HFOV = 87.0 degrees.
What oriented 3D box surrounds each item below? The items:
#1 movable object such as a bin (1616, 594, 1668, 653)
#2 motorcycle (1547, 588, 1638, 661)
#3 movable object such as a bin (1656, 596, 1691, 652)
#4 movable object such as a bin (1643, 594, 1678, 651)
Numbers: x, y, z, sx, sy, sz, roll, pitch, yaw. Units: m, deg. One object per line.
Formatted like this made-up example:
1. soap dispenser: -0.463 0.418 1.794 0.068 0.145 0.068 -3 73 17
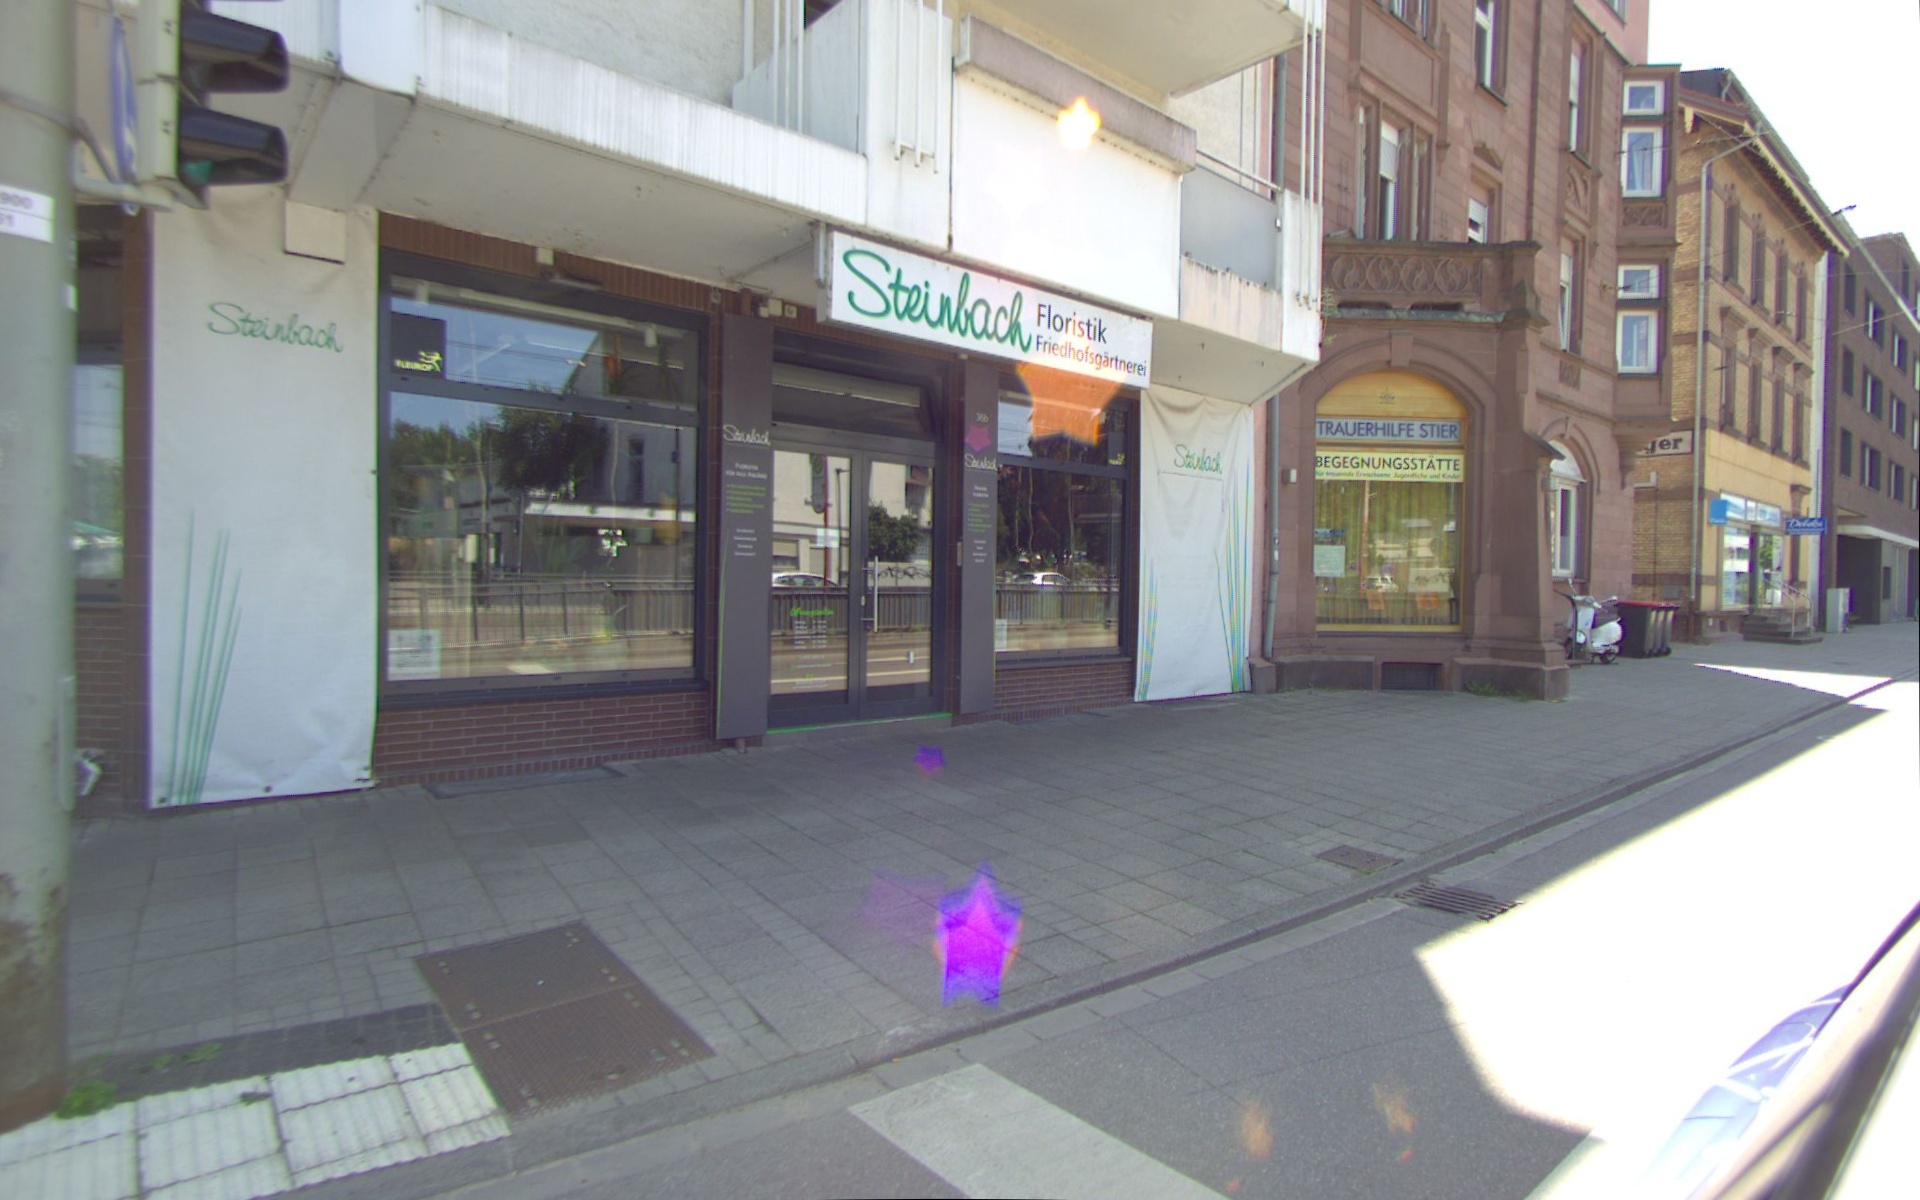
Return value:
1. movable object such as a bin: 12.980 0.430 19.275 0.549 1.061 0.649 0 3 -40
2. motorcycle: 10.628 0.391 16.986 1.843 1.163 0.529 0 1 -32
3. movable object such as a bin: 14.035 0.456 19.905 0.646 1.061 0.376 0 3 -41
4. movable object such as a bin: 13.520 0.434 19.528 0.549 1.061 0.376 0 3 -41
